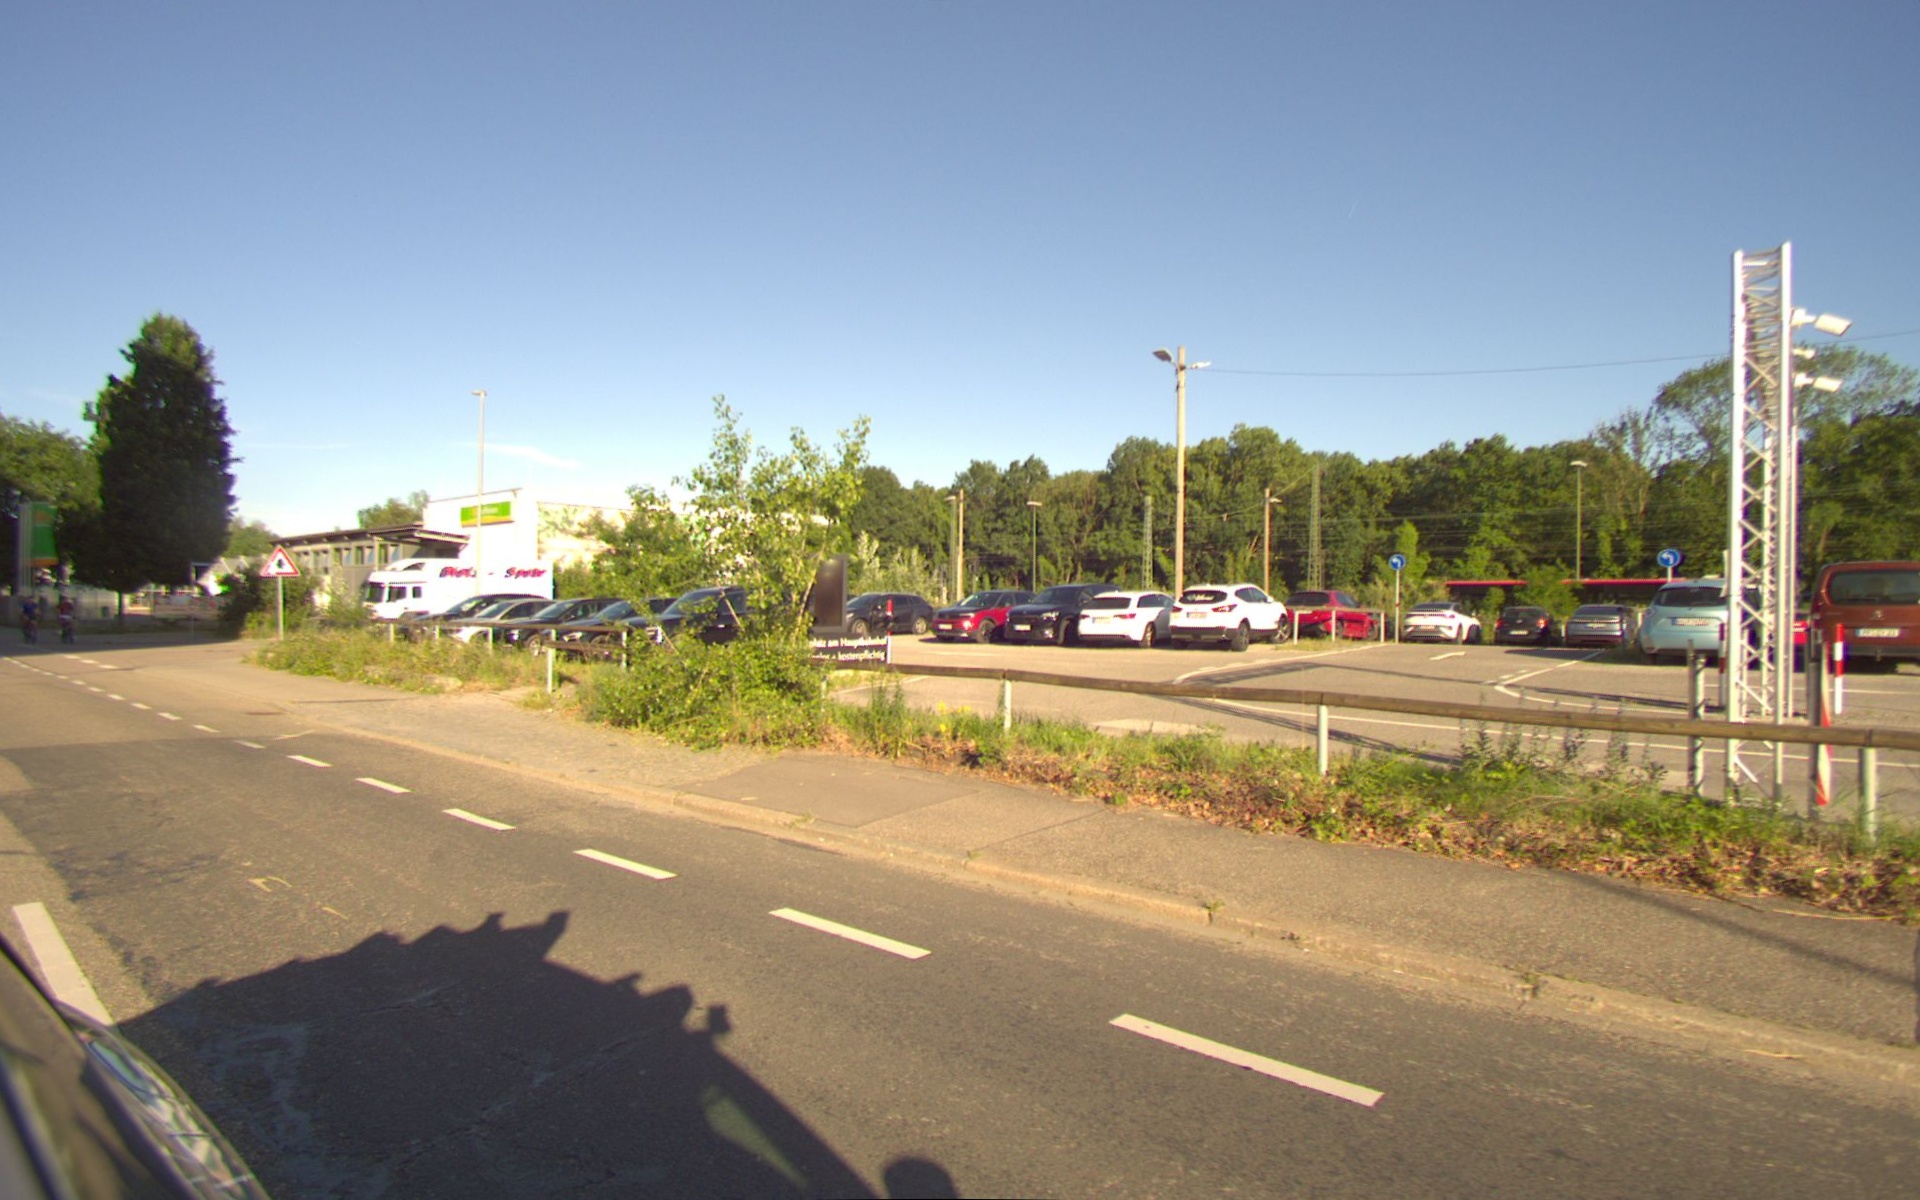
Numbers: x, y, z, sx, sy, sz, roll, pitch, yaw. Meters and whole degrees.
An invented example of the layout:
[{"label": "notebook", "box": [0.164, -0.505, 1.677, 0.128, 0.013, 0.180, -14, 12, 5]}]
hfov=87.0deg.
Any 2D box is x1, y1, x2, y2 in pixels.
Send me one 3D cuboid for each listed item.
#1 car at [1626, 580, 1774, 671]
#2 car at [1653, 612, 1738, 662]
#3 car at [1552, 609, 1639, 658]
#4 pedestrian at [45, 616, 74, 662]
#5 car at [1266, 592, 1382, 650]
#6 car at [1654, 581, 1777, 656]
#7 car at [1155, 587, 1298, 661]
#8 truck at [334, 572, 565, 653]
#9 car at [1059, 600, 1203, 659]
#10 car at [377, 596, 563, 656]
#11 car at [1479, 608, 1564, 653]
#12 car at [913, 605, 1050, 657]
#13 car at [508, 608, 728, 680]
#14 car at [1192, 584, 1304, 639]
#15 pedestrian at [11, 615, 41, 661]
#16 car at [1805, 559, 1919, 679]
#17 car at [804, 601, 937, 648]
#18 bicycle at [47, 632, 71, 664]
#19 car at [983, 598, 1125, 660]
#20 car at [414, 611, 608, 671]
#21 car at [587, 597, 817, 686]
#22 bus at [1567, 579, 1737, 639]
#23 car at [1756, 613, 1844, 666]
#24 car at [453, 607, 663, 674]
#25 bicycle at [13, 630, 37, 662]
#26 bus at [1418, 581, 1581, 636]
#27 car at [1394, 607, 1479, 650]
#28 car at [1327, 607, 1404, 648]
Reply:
[{"label": "car", "box": [14.280, 0.424, 19.434, 1.857, 1.557, 4.320, -1, 0, 42]}, {"label": "car", "box": [23.434, 1.126, 32.211, 1.935, 1.493, 3.570, -1, -1, 40]}, {"label": "car", "box": [20.922, 1.058, 33.267, 1.935, 1.493, 3.570, -1, -1, 40]}, {"label": "pedestrian", "box": [-35.231, 1.512, 39.593, 1.057, 1.734, 0.713, 0, -1, 42]}, {"label": "car", "box": [10.573, 0.567, 29.229, 1.964, 1.541, 4.120, 0, 0, 38]}, {"label": "car", "box": [17.295, 0.378, 23.095, 1.857, 1.557, 4.320, -1, 0, 42]}, {"label": "car", "box": [6.720, 0.548, 25.242, 1.964, 1.674, 4.120, 0, 0, 38]}, {"label": "truck", "box": [-25.105, 0.512, 50.410, 2.774, 3.641, 9.995, 1, 1, 40]}, {"label": "car", "box": [4.561, 0.721, 26.557, 2.045, 1.408, 4.121, 0, 0, 38]}, {"label": "car", "box": [-13.998, 0.687, 29.094, 2.048, 1.592, 4.380, 0, 0, 42]}, {"label": "car", "box": [19.751, 1.027, 35.534, 1.935, 1.493, 3.570, -1, -1, 40]}, {"label": "car", "box": [0.714, 0.873, 30.127, 2.045, 1.408, 4.121, 0, 0, 38]}, {"label": "car", "box": [-7.782, 0.940, 23.318, 2.048, 1.473, 4.380, 0, 0, 42]}, {"label": "car", "box": [8.776, 0.314, 30.671, 1.911, 1.560, 3.948, -1, 0, 38]}, {"label": "pedestrian", "box": [-35.785, 1.452, 38.775, 1.057, 1.734, 0.713, 0, -1, 42]}, {"label": "car", "box": [15.765, 0.267, 17.298, 1.857, 1.819, 4.527, -1, 0, 42]}, {"label": "car", "box": [-2.926, 0.772, 33.955, 2.045, 1.476, 4.361, 0, 0, 38]}, {"label": "bicycle", "box": [-35.204, 1.874, 39.524, 1.869, 1.157, 0.465, 0, 1, 42]}, {"label": "car", "box": [2.680, 0.741, 28.116, 2.045, 1.590, 4.121, 0, 0, 38]}, {"label": "car", "box": [-12.030, 1.036, 27.312, 2.048, 1.473, 4.380, 0, 0, 42]}, {"label": "car", "box": [-5.388, 0.799, 21.541, 2.048, 1.683, 4.380, 0, 0, 42]}, {"label": "bus", "box": [29.022, 0.382, 42.575, 5.589, 2.366, 2.511, -1, -1, 43]}, {"label": "car", "box": [25.312, 1.152, 30.507, 1.935, 1.493, 3.570, -1, -1, 40]}, {"label": "car", "box": [-9.812, 0.916, 24.929, 2.048, 1.473, 4.380, 0, 0, 42]}, {"label": "bicycle", "box": [-35.929, 1.743, 38.896, 2.200, 1.157, 0.441, 0, 1, 42]}, {"label": "bus", "box": [24.737, 0.412, 46.587, 6.205, 2.366, 2.511, -1, -1, 43]}, {"label": "car", "box": [17.303, 1.008, 36.664, 1.935, 1.493, 3.570, -1, -1, 40]}, {"label": "car", "box": [15.619, 1.041, 38.928, 1.725, 1.493, 3.570, -1, -1, 40]}]
